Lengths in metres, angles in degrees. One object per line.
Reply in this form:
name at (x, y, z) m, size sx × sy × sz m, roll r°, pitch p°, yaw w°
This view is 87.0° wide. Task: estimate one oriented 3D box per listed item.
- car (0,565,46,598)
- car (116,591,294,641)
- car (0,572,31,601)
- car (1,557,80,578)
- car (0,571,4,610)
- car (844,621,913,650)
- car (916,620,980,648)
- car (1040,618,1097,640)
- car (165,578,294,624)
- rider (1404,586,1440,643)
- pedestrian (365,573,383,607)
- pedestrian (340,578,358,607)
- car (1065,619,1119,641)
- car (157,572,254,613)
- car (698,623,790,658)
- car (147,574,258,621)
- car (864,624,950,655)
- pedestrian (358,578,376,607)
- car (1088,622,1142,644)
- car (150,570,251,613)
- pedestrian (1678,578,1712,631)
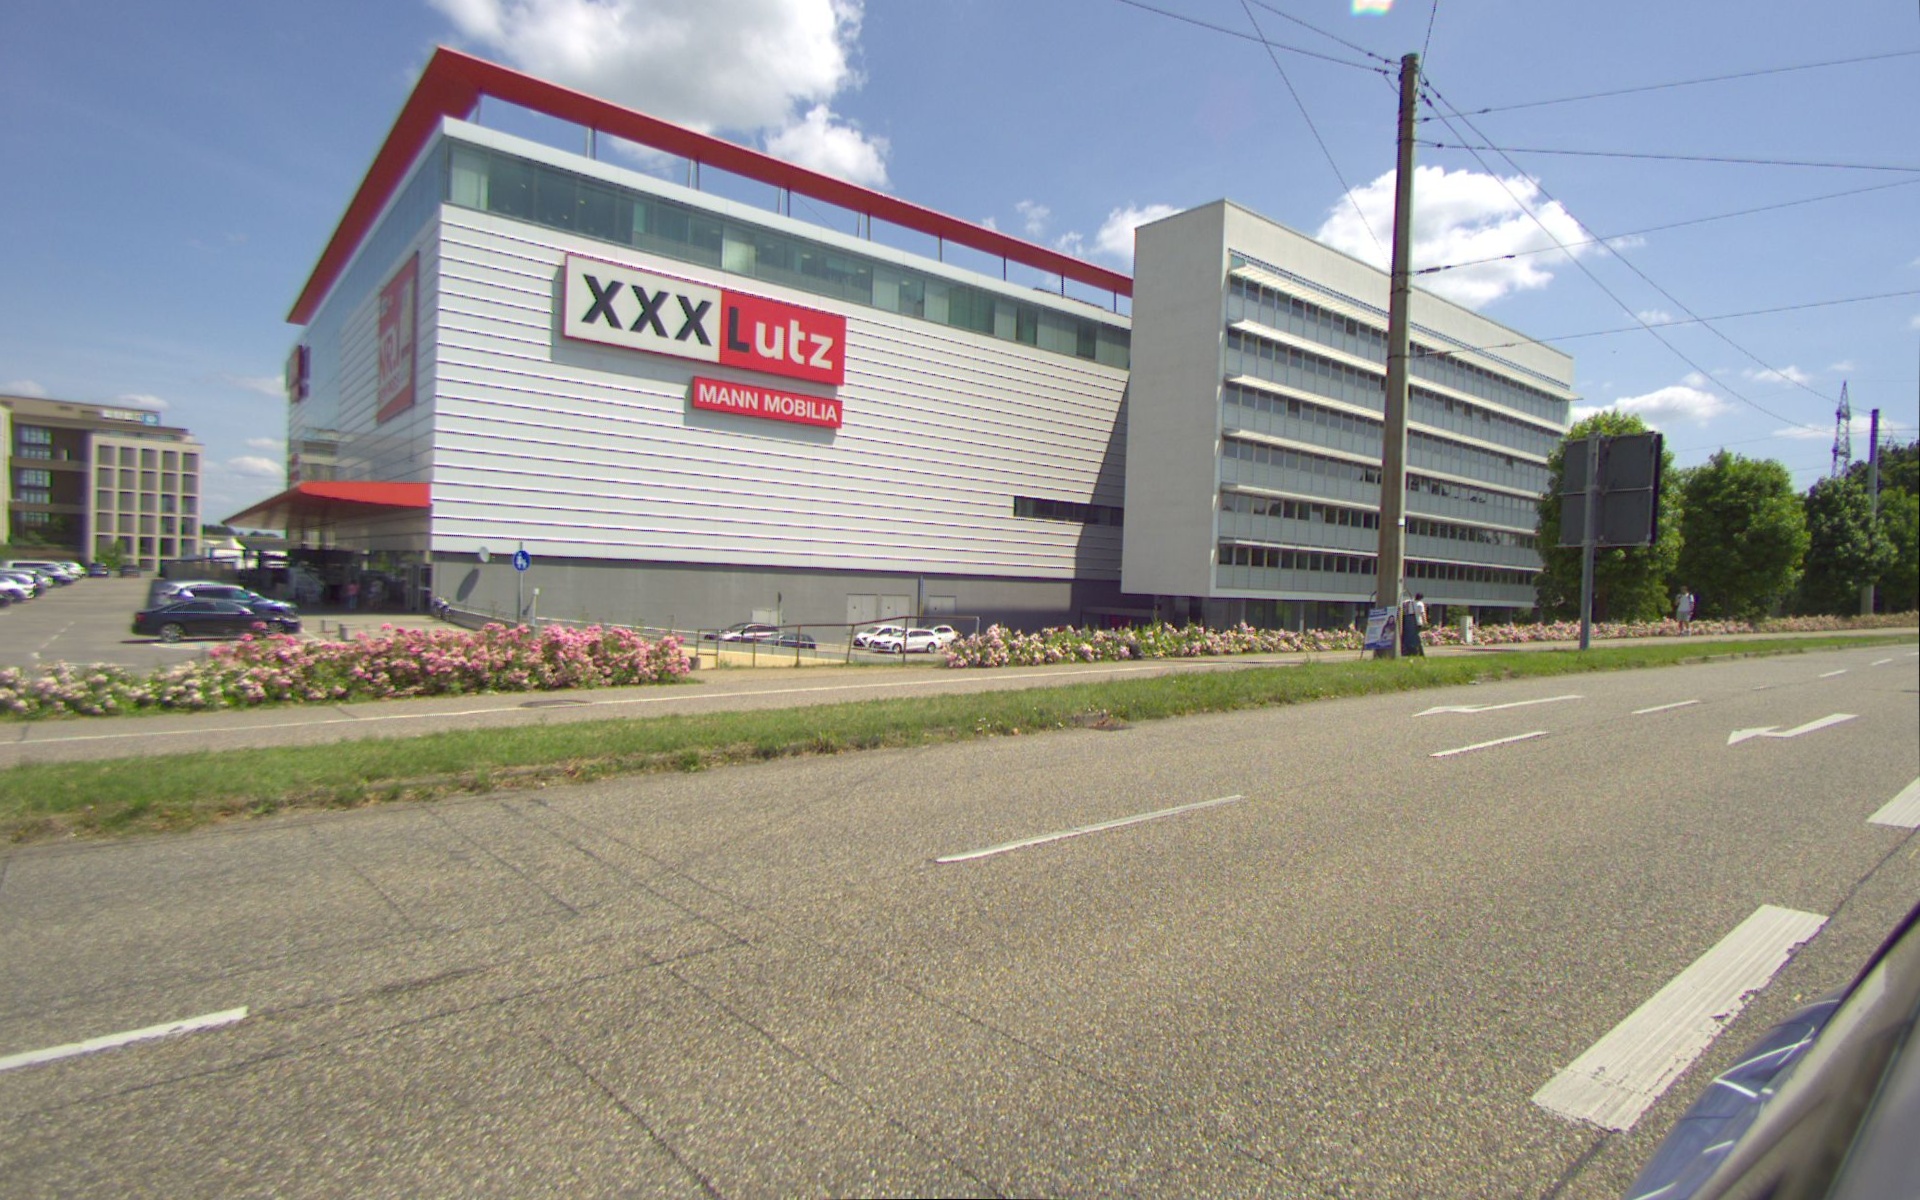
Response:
car at (-58.927, -1.135, 62.268) m, size 3.930 × 2.039 × 1.997 m, roll 0°, pitch 1°, yaw -41°
car at (-26.464, 0.513, 35.557) m, size 4.913 × 1.631 × 1.997 m, roll 0°, pitch 0°, yaw -41°
car at (-54.678, -0.767, 55.858) m, size 4.913 × 1.631 × 1.997 m, roll 0°, pitch 0°, yaw -41°
car at (-78.836, -2.756, 86.889) m, size 4.913 × 1.631 × 1.997 m, roll 0°, pitch 0°, yaw -41°
car at (-48.683, -0.462, 47.785) m, size 5.094 × 1.888 × 1.996 m, roll 0°, pitch 0°, yaw -42°
car at (-5.112, 2.214, 63.592) m, size 3.930 × 1.632 × 1.997 m, roll 0°, pitch 1°, yaw -41°
car at (-0.794, 2.225, 67.067) m, size 3.930 × 1.632 × 1.997 m, roll 0°, pitch 1°, yaw -41°
car at (7.919, 2.082, 73.838) m, size 3.930 × 1.465 × 1.997 m, roll 0°, pitch 1°, yaw -41°
car at (-30.552, 0.045, 42.397) m, size 4.257 × 1.804 × 1.997 m, roll 0°, pitch -1°, yaw -41°
rider at (12.198, 0.372, 26.700) m, size 0.607 × 1.476 × 0.670 m, roll 0°, pitch 0°, yaw -41°
pedestrian at (-32.637, -0.564, 56.366) m, size 0.723 × 1.893 × 0.741 m, roll 0°, pitch 0°, yaw -42°
pedestrian at (-33.524, -0.409, 55.492) m, size 0.723 × 1.577 × 0.741 m, roll 0°, pitch 0°, yaw -42°
car at (9.401, 2.110, 71.962) m, size 3.930 × 1.403 × 1.646 m, roll 0°, pitch 1°, yaw -41°
car at (-39.279, -0.421, 52.697) m, size 3.930 × 2.039 × 1.997 m, roll 0°, pitch 1°, yaw -41°
car at (-11.668, 2.154, 54.833) m, size 4.509 × 1.632 × 1.997 m, roll 0°, pitch 1°, yaw -41°
car at (-34.521, -0.144, 46.153) m, size 3.930 × 2.039 × 1.997 m, roll 0°, pitch 1°, yaw -41°
car at (-3.188, 2.353, 61.596) m, size 5.057 × 1.632 × 1.997 m, roll 0°, pitch 1°, yaw -41°
pedestrian at (-32.412, -0.398, 55.285) m, size 0.723 × 1.577 × 0.741 m, roll 0°, pitch 0°, yaw -42°
car at (10.728, 2.267, 69.941) m, size 3.930 × 1.338 × 1.607 m, roll 0°, pitch 1°, yaw -41°
car at (-37.850, -0.414, 50.466) m, size 3.930 × 2.039 × 1.997 m, roll 0°, pitch 0°, yaw -41°
pedestrian at (26.606, 0.149, 36.643) m, size 0.913 × 1.872 × 0.758 m, roll 0°, pitch 0°, yaw -38°
